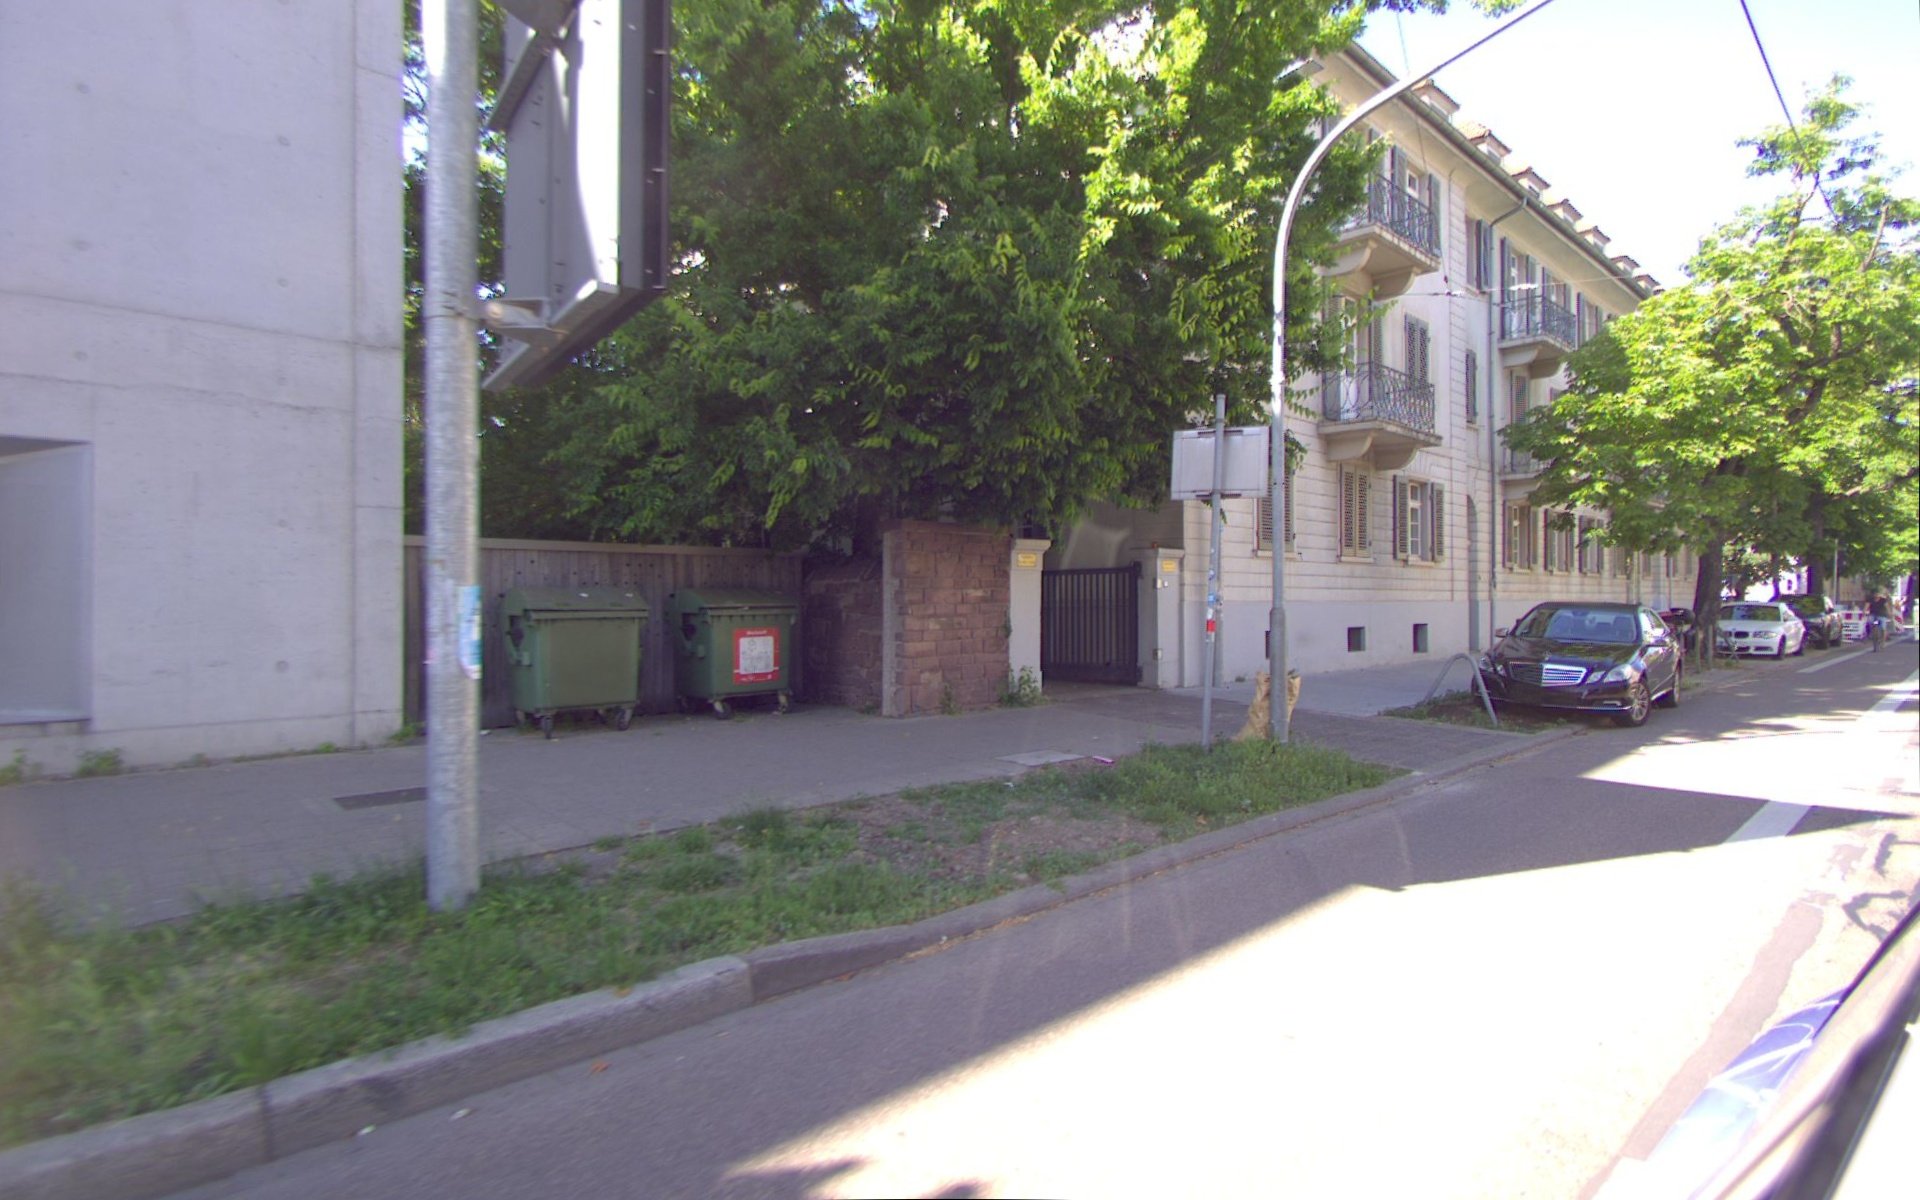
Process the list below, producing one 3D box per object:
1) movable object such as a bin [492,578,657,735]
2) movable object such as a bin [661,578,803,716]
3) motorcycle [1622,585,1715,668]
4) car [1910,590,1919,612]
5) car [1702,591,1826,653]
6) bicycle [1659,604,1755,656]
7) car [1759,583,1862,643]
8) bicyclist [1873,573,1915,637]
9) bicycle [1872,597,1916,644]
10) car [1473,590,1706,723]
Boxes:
[{"bbox_3d":[-3.927,0.526,10.328,1.332,1.482,0.935,0,0,-41],"label":"movable object such as a bin"},{"bbox_3d":[-2.620,0.504,11.669,1.309,1.482,0.934,0,0,-44],"label":"movable object such as a bin"},{"bbox_3d":[13.984,0.469,19.940,2.633,1.507,0.915,-1,2,-42],"label":"motorcycle"},{"bbox_3d":[67.966,0.076,70.974,4.143,1.490,1.703,0,1,-43],"label":"car"},{"bbox_3d":[20.217,0.498,25.390,4.280,1.399,1.726,0,2,-42],"label":"car"},{"bbox_3d":[16.797,0.657,22.781,0.674,1.056,1.622,0,1,-41],"label":"bicycle"},{"bbox_3d":[25.970,0.342,30.840,4.506,1.646,1.813,0,2,-43],"label":"car"},{"bbox_3d":[26.497,0.143,28.713,1.029,1.761,0.762,0,-2,-43],"label":"bicyclist"},{"bbox_3d":[26.446,0.568,28.645,2.061,1.258,0.762,0,-1,-44],"label":"bicycle"},{"bbox_3d":[8.772,0.623,13.897,1.821,1.476,4.743,2,2,43],"label":"car"}]
